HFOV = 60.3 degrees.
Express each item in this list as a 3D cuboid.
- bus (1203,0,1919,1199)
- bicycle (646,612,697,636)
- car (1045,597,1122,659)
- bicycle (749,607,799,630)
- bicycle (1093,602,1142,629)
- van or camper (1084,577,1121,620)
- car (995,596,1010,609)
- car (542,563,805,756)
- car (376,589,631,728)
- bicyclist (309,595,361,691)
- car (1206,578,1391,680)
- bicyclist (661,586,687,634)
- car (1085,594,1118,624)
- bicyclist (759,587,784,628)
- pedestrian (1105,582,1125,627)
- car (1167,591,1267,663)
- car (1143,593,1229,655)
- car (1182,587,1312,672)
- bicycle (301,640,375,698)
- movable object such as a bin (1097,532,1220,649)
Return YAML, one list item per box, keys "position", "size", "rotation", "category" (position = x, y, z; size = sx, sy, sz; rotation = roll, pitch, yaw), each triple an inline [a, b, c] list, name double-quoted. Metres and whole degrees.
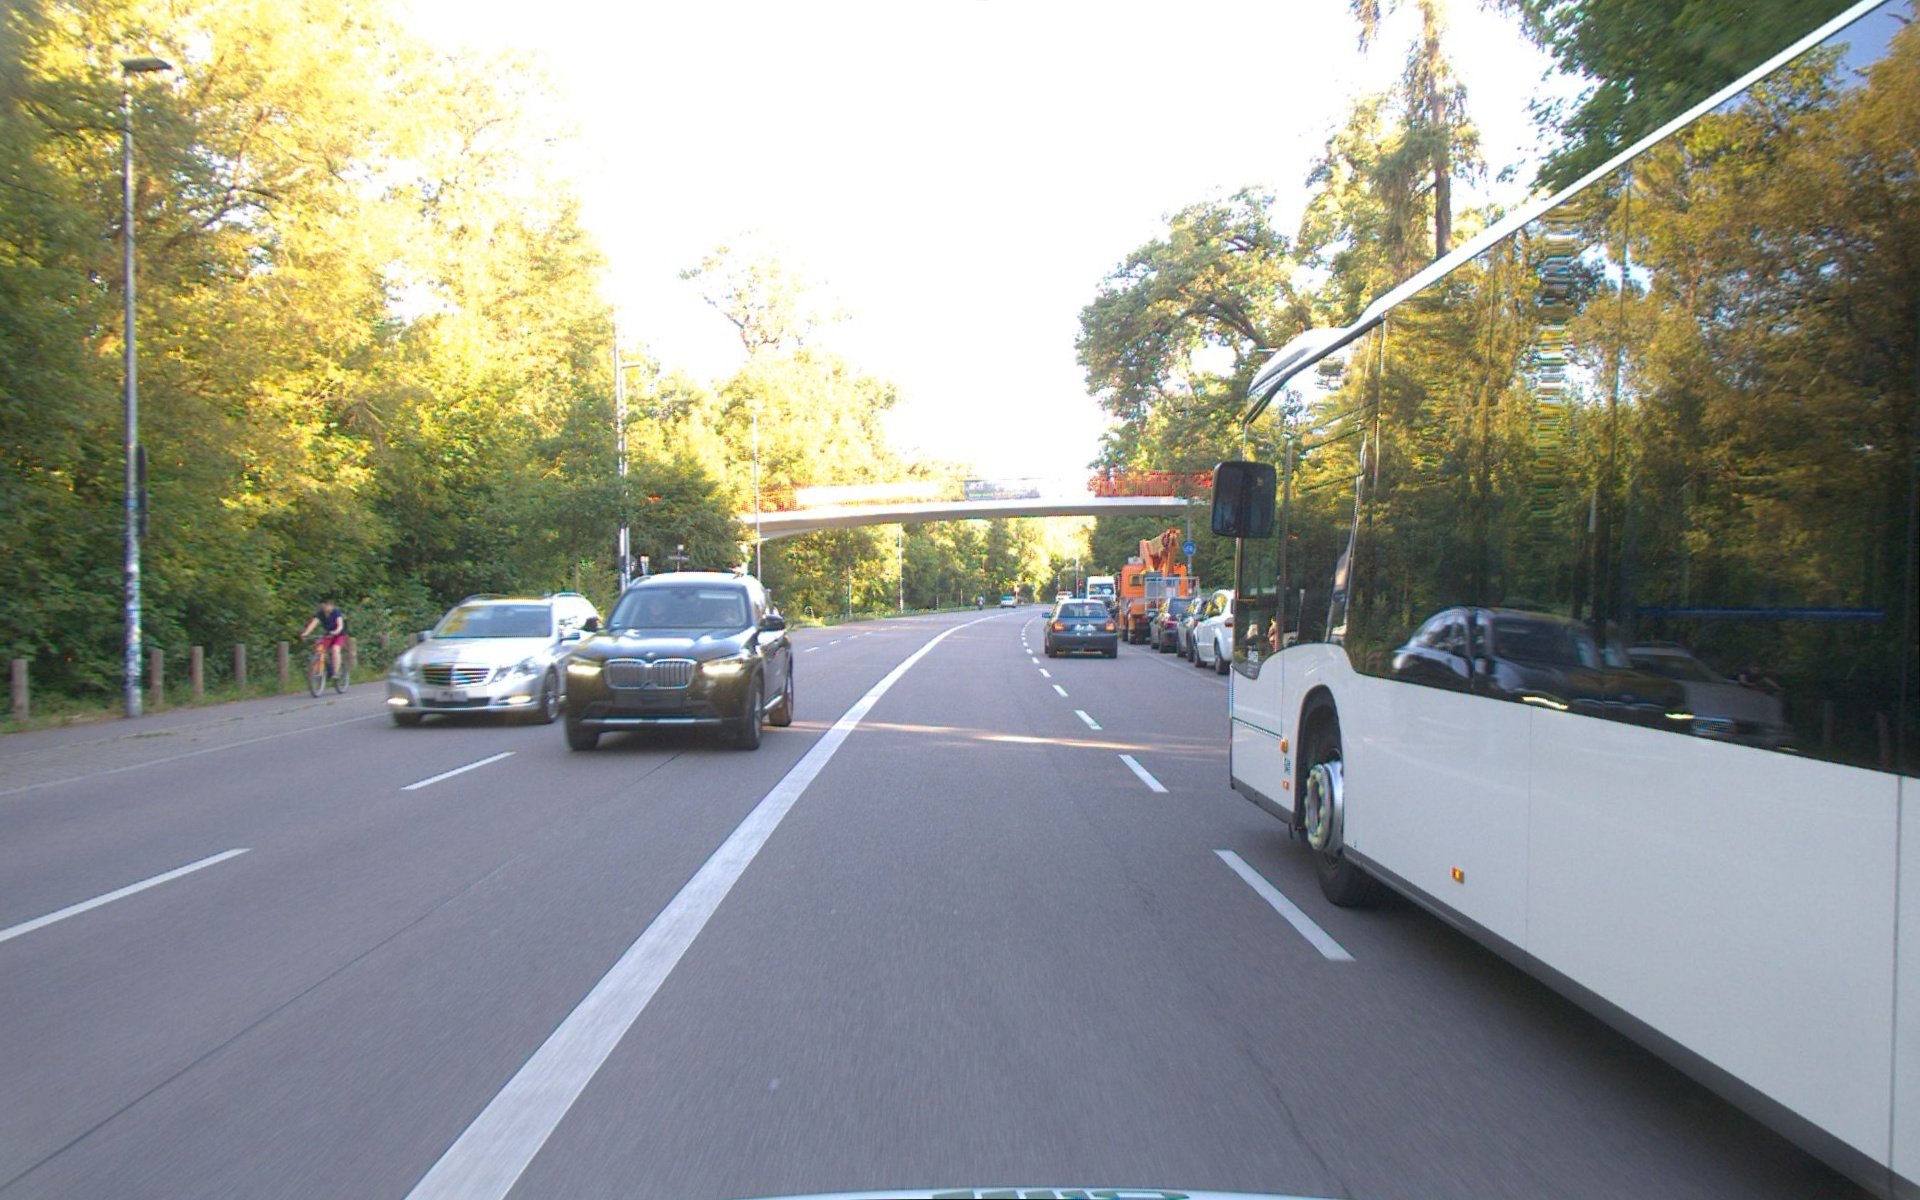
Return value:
- position: [3.124, -0.133, 5.357]
  size: [2.649, 3.278, 12.276]
  rotation: [1, 0, -1]
  category: "bus"
- position: [-11.873, 0.985, 68.065]
  size: [1.885, 0.951, 0.825]
  rotation: [-1, 0, 11]
  category: "bicycle"
- position: [3.033, 0.663, 41.173]
  size: [1.692, 1.467, 4.090]
  rotation: [0, 0, 1]
  category: "car"
- position: [-7.665, 0.763, 68.228]
  size: [1.885, 0.951, 0.825]
  rotation: [-1, 0, 12]
  category: "bicycle"
- position: [6.896, 0.669, 72.298]
  size: [2.020, 1.087, 0.870]
  rotation: [-2, -1, -2]
  category: "bicycle"
- position: [8.799, -0.100, 102.669]
  size: [2.074, 2.561, 5.982]
  rotation: [-1, 0, 3]
  category: "van or camper"
- position: [5.166, 0.313, 202.396]
  size: [1.646, 1.431, 3.891]
  rotation: [-2, 0, 4]
  category: "car"
- position: [-2.814, 0.536, 17.264]
  size: [1.878, 1.734, 4.443]
  rotation: [-1, 0, 1]
  category: "car"
- position: [-5.555, 0.653, 20.753]
  size: [1.859, 1.558, 4.529]
  rotation: [0, 0, 1]
  category: "car"
- position: [-10.083, 0.678, 26.685]
  size: [0.489, 1.510, 0.761]
  rotation: [-2, 0, 0]
  category: "bicyclist"
- position: [5.682, 0.476, 28.275]
  size: [1.696, 1.569, 4.079]
  rotation: [2, -1, -10]
  category: "car"
- position: [-11.770, 0.415, 68.045]
  size: [0.778, 1.934, 0.818]
  rotation: [-1, 0, 11]
  category: "bicyclist"
- position: [7.870, 0.464, 91.527]
  size: [1.686, 1.522, 3.777]
  rotation: [-3, 0, 6]
  category: "car"
- position: [-7.770, 0.309, 68.252]
  size: [0.778, 1.672, 0.842]
  rotation: [0, 0, 11]
  category: "bicyclist"
- position: [6.778, 0.198, 72.305]
  size: [0.685, 1.885, 0.938]
  rotation: [-3, -1, -2]
  category: "pedestrian"
- position: [6.017, 0.587, 39.118]
  size: [1.692, 1.601, 4.089]
  rotation: [0, 0, -1]
  category: "car"
- position: [6.034, 0.612, 44.525]
  size: [1.692, 1.601, 4.089]
  rotation: [0, 0, -1]
  category: "car"
- position: [5.738, 0.559, 33.568]
  size: [1.801, 1.601, 4.458]
  rotation: [0, 0, -1]
  category: "car"
- position: [-10.076, 1.100, 26.828]
  size: [0.485, 0.828, 1.808]
  rotation: [-3, 0, 0]
  category: "bicycle"
- position: [6.196, -0.288, 52.778]
  size: [2.703, 3.429, 7.597]
  rotation: [-1, 0, -2]
  category: "movable object such as a bin"
